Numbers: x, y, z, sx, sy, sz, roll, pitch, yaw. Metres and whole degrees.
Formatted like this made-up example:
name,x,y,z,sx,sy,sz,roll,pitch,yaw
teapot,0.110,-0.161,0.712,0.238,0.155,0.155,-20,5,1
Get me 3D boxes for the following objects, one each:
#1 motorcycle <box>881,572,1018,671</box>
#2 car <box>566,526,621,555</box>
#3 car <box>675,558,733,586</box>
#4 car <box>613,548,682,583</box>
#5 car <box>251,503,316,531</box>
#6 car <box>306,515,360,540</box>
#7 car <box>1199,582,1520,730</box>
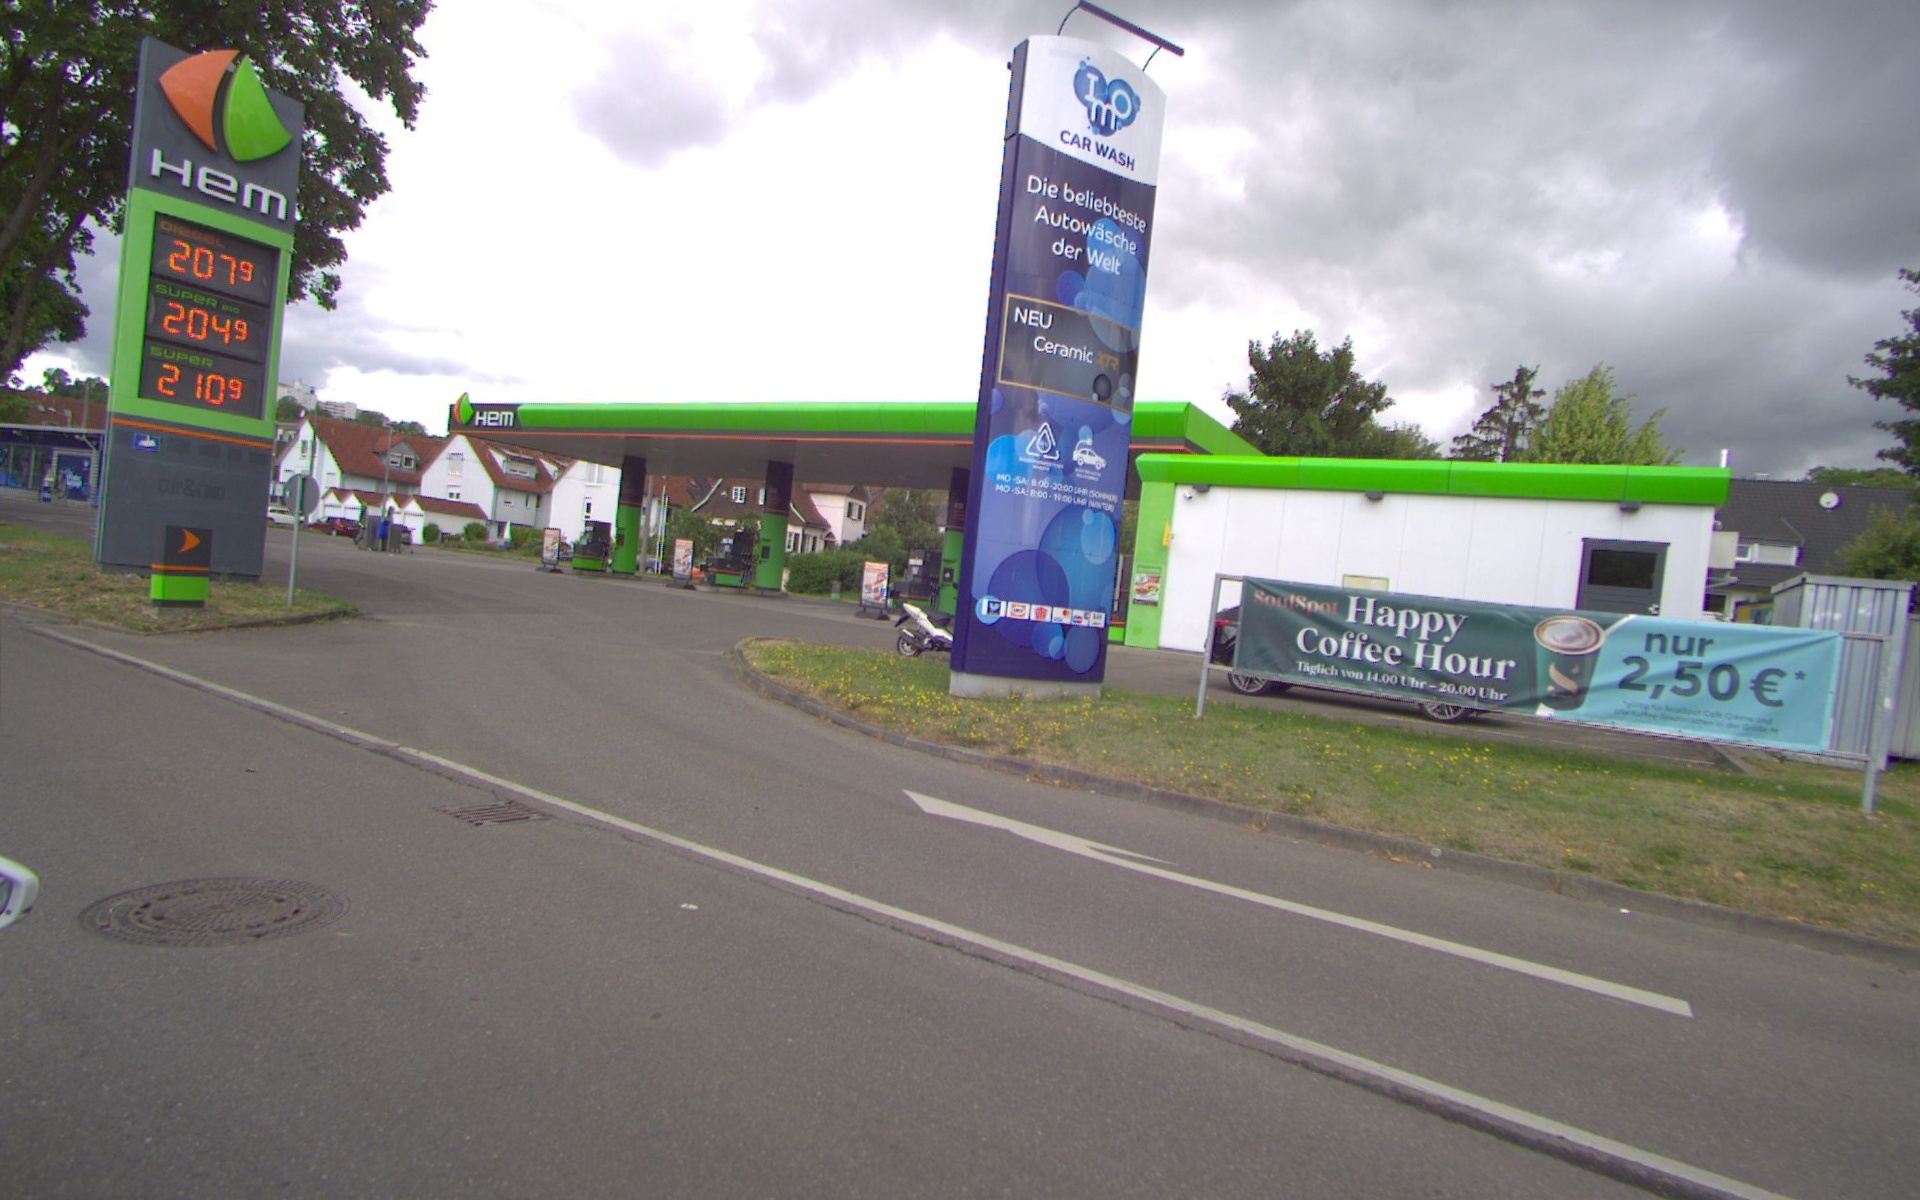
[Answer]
name,x,y,z,sx,sy,sz,roll,pitch,yaw
motorcycle,-0.183,0.339,16.347,1.957,1.348,0.856,7,2,32
car,-27.444,-4.450,75.237,3.934,1.705,1.691,7,1,32
car,-16.542,-1.810,64.907,3.273,1.279,1.421,7,-1,20
car,-20.586,-2.255,66.313,3.925,1.709,1.762,7,-1,20
car,-58.447,-7.142,86.982,1.747,1.704,4.225,7,-1,29
car,-46.972,-5.425,75.373,3.354,1.411,1.587,7,-1,20
car,6.141,0.773,15.628,4.265,1.697,1.821,6,2,32
